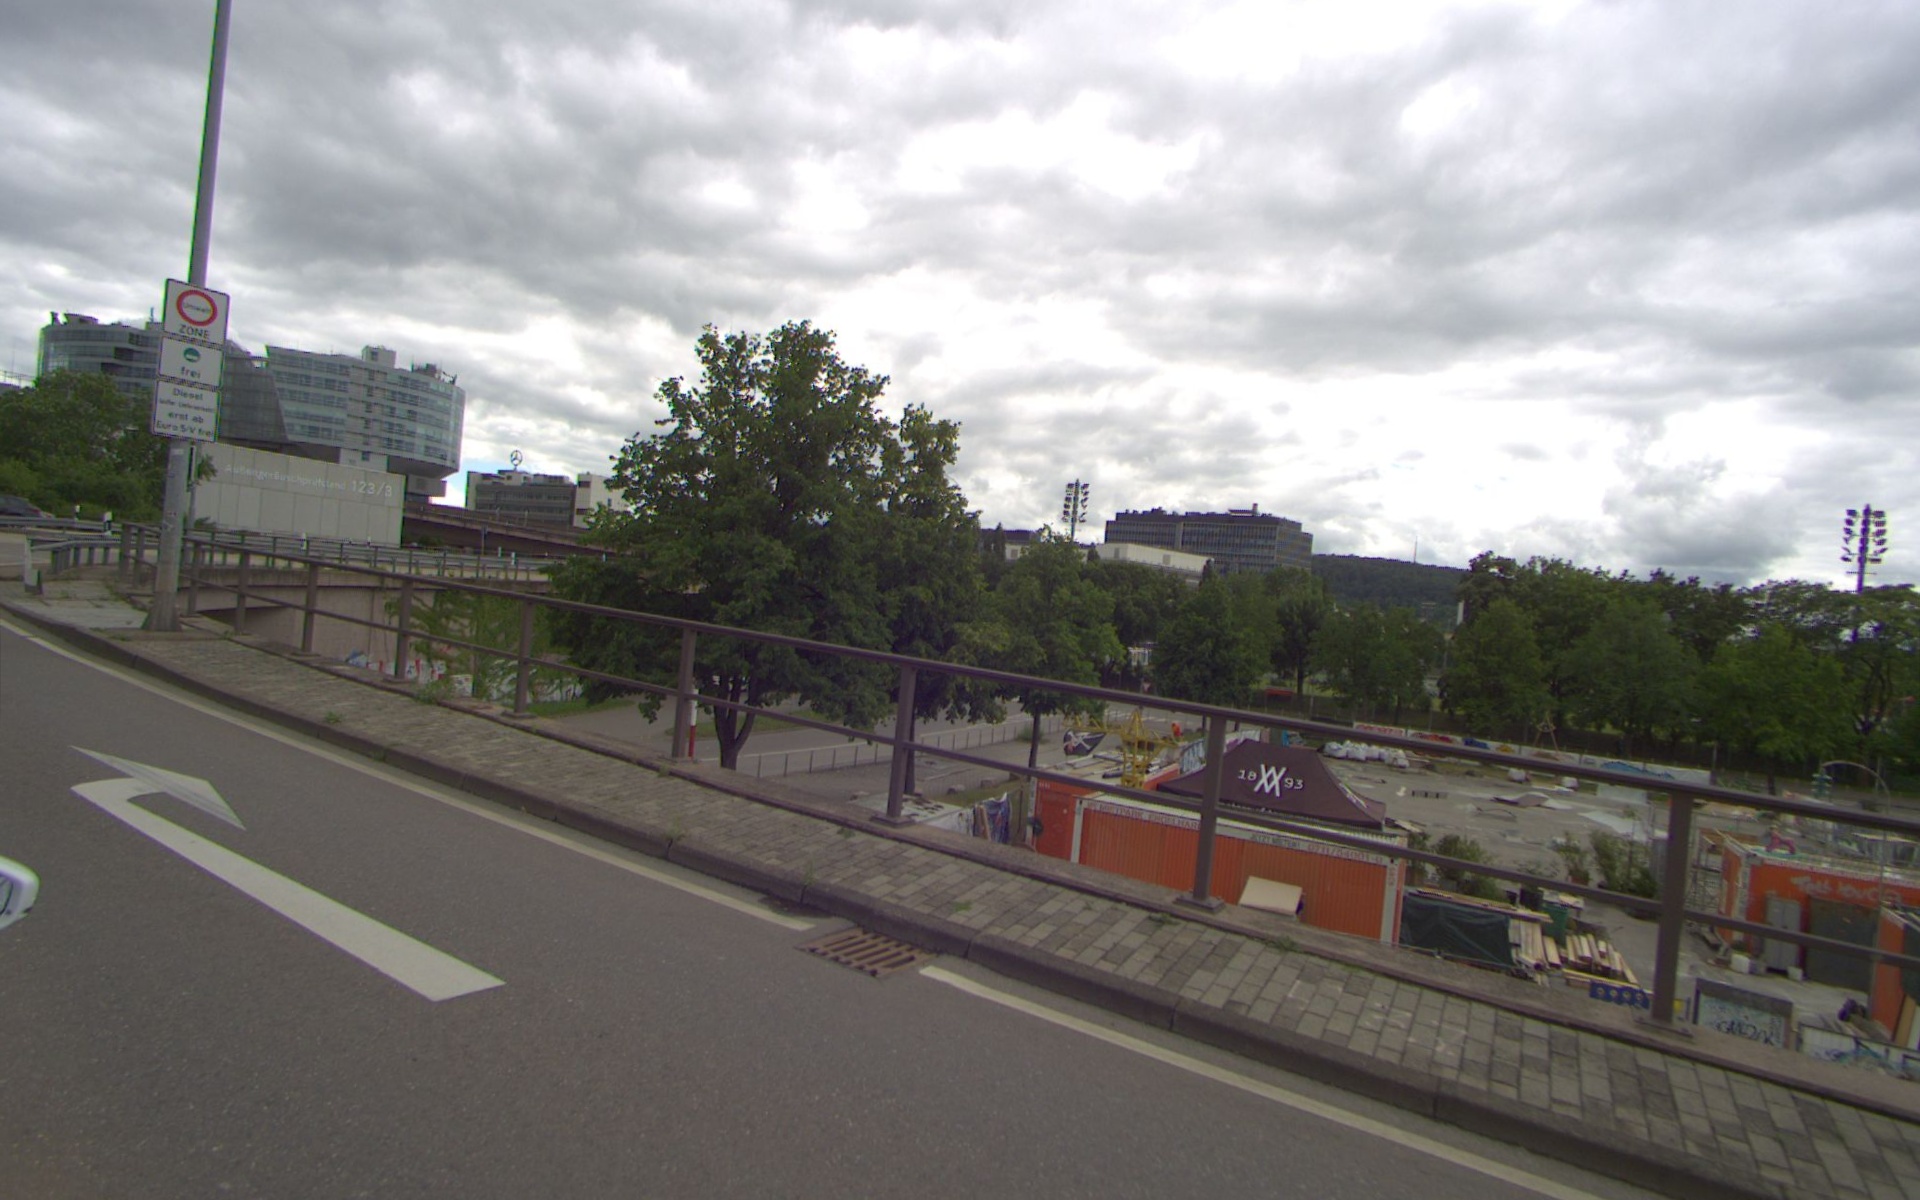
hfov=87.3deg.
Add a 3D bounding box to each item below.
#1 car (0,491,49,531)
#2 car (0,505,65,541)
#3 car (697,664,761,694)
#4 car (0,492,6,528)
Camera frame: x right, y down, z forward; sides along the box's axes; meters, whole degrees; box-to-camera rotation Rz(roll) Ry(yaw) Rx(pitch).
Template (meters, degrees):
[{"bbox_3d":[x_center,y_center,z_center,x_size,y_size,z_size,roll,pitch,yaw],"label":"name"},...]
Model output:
[{"bbox_3d":[-41.931,-4.035,42.524,1.922,1.475,4.616,8,-1,28],"label":"car"},{"bbox_3d":[-50.360,-4.188,53.267,4.070,1.458,1.984,8,-3,-33],"label":"car"},{"bbox_3d":[-14.451,4.906,63.098,1.794,1.553,3.997,7,1,24],"label":"car"},{"bbox_3d":[-45.586,-4.366,44.363,1.923,1.590,4.686,8,-1,31],"label":"car"}]
